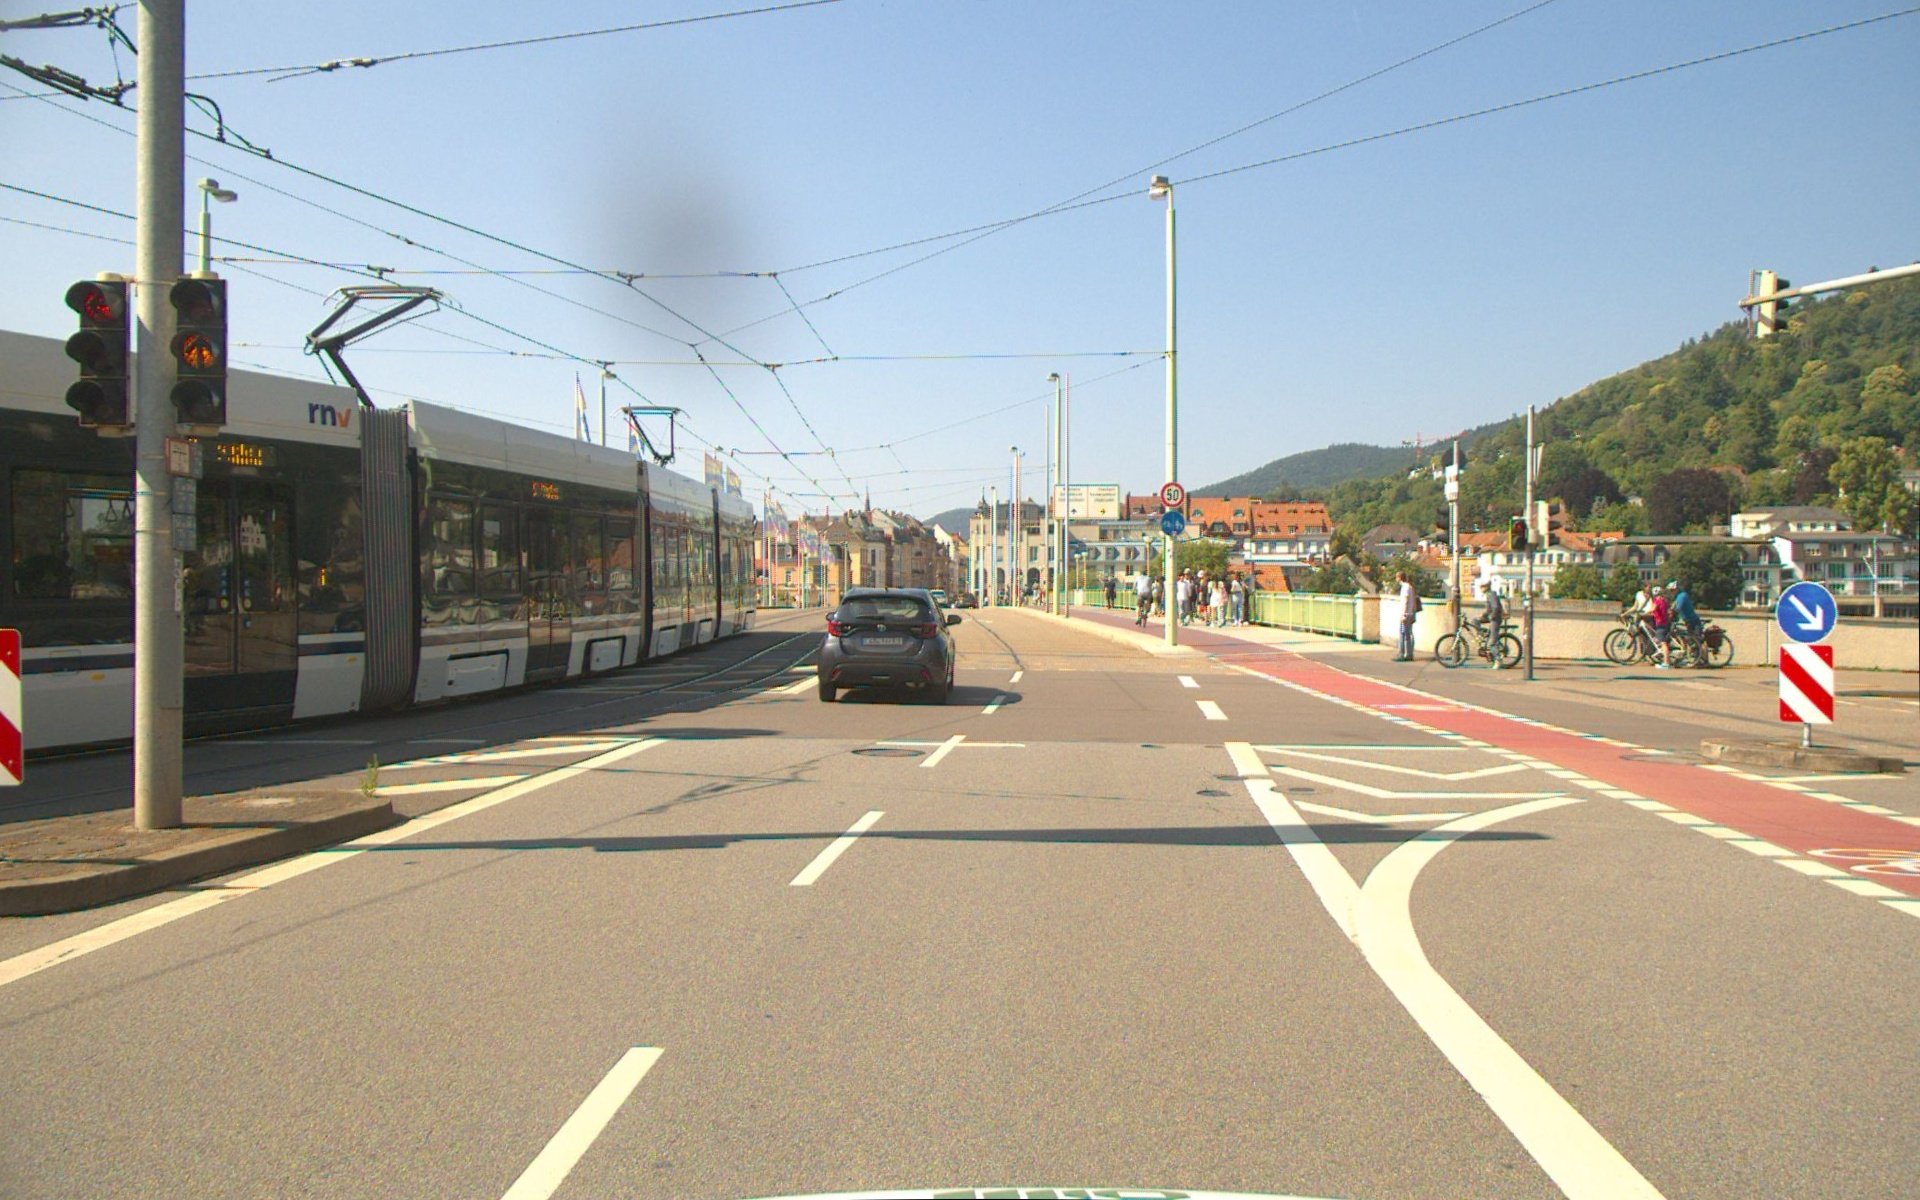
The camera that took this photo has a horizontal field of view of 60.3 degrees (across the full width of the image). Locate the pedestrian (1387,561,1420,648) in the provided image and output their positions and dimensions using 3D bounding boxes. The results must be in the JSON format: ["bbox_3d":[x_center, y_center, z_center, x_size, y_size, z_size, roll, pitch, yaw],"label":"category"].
[{"bbox_3d":[9.186,0.090,34.260,0.523,1.791,0.577,0,1,2],"label":"pedestrian"}]

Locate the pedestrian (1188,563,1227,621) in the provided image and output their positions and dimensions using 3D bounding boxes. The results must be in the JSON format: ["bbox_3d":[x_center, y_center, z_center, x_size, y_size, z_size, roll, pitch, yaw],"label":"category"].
[{"bbox_3d":[7.602,-0.240,50.845,0.966,1.781,0.928,0,0,-7],"label":"pedestrian"}]

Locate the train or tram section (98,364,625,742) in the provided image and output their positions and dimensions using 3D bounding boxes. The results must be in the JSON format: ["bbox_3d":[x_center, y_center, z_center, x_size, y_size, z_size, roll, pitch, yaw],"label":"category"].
[{"bbox_3d":[-7.092,-0.557,21.537,2.483,3.843,9.177,0,1,7],"label":"train or tram section"}]

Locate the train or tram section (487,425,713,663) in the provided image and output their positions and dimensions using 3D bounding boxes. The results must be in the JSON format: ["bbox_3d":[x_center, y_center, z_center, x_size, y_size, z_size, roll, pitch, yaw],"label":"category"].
[{"bbox_3d":[-6.407,-0.983,30.974,2.355,3.745,9.617,-1,1,-2],"label":"train or tram section"}]

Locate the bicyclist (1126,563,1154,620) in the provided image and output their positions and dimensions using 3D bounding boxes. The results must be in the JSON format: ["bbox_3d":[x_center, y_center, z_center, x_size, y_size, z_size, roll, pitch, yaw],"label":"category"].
[{"bbox_3d":[5.708,-0.276,52.430,0.660,1.774,1.149,-1,0,-6],"label":"bicyclist"}]

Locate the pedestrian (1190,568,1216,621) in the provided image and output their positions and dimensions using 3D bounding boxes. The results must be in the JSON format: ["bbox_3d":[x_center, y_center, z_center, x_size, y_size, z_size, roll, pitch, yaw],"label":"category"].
[{"bbox_3d":[7.798,-0.180,53.090,0.641,1.678,0.867,0,0,-4],"label":"pedestrian"}]

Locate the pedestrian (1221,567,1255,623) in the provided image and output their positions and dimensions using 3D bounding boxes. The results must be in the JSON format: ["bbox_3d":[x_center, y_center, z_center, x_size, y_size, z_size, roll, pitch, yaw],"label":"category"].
[{"bbox_3d":[8.527,-0.159,50.814,0.818,1.706,0.884,0,0,-7],"label":"pedestrian"}]

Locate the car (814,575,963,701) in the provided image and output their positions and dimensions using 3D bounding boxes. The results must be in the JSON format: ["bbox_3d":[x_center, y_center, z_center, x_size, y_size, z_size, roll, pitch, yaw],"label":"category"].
[{"bbox_3d":[-1.029,0.467,23.095,1.872,1.567,3.997,1,1,-4],"label":"car"}]

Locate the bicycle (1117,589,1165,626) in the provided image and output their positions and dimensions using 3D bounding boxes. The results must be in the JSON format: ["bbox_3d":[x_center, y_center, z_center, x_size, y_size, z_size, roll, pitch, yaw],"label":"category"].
[{"bbox_3d":[5.710,0.211,52.489,0.777,1.115,3.740,-1,0,-5],"label":"bicycle"}]

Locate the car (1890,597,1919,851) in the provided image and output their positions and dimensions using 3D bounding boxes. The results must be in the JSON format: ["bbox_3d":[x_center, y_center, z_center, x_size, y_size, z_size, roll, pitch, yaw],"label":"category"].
[{"bbox_3d":[7.011,0.779,10.207,1.955,1.516,4.281,1,1,26],"label":"car"}]

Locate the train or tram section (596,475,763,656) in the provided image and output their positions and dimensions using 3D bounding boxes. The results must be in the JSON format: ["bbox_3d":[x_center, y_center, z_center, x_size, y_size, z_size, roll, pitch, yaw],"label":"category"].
[{"bbox_3d":[-6.697,-0.858,41.239,2.420,3.843,11.847,-1,1,-2],"label":"train or tram section"}]

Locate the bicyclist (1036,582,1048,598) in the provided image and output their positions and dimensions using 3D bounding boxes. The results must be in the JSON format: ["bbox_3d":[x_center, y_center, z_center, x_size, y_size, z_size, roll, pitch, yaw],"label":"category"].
[{"bbox_3d":[5.313,-0.648,107.222,0.654,1.063,0.979,-1,0,-8],"label":"bicyclist"}]

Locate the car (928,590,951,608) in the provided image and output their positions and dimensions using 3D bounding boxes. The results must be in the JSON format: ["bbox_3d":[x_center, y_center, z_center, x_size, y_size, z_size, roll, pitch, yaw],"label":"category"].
[{"bbox_3d":[-1.768,-0.076,141.099,1.768,1.494,3.997,-2,0,-4],"label":"car"}]

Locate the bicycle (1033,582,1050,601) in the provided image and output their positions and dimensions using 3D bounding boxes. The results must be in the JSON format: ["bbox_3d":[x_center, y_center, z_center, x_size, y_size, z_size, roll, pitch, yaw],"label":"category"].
[{"bbox_3d":[5.282,-0.551,107.335,0.682,1.214,2.076,-1,-1,-7],"label":"bicycle"}]

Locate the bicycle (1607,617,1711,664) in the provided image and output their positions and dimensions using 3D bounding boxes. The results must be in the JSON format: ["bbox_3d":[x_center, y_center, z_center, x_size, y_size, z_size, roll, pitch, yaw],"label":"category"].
[{"bbox_3d":[14.152,0.804,33.525,1.899,0.868,0.565,2,1,23],"label":"bicycle"}]

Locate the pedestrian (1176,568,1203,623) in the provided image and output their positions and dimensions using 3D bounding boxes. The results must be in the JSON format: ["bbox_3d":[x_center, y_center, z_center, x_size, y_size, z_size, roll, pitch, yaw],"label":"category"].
[{"bbox_3d":[7.349,-0.136,53.040,0.682,1.746,0.730,0,0,-7],"label":"pedestrian"}]

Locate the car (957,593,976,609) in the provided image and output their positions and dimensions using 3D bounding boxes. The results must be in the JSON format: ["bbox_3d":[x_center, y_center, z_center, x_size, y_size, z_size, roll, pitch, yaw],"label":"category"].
[{"bbox_3d":[0.658,0.104,164.996,1.766,1.494,4.000,-2,0,1],"label":"car"}]

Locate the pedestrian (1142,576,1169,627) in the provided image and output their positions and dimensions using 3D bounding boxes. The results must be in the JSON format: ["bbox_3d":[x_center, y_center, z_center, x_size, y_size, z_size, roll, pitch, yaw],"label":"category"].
[{"bbox_3d":[7.878,0.061,66.752,0.857,2.049,1.057,0,0,-7],"label":"pedestrian"}]

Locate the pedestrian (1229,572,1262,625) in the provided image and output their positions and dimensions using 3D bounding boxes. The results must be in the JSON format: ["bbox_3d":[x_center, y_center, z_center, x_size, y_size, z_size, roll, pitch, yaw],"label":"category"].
[{"bbox_3d":[8.955,-0.053,51.930,0.784,1.663,0.948,0,0,-7],"label":"pedestrian"}]

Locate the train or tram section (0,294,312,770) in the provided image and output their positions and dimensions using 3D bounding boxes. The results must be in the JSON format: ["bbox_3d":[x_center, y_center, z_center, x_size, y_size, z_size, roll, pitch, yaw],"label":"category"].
[{"bbox_3d":[-9.218,-0.533,12.859,2.484,3.843,9.174,0,1,18],"label":"train or tram section"}]

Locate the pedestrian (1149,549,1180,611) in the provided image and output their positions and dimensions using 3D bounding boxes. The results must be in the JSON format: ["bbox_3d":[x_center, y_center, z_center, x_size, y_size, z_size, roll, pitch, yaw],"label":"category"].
[{"bbox_3d":[6.772,-0.649,54.778,0.788,2.049,0.953,0,0,-7],"label":"pedestrian"}]

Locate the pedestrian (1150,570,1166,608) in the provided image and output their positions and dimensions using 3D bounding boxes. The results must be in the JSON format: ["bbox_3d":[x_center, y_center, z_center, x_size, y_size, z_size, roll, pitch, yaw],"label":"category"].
[{"bbox_3d":[8.435,-0.457,70.471,0.636,1.589,0.692,-1,1,5],"label":"pedestrian"}]

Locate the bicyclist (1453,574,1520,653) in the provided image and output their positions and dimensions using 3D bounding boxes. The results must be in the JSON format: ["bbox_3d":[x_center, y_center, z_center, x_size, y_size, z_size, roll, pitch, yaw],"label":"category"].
[{"bbox_3d":[10.219,0.255,32.127,1.057,1.499,0.801,1,1,3],"label":"bicyclist"}]

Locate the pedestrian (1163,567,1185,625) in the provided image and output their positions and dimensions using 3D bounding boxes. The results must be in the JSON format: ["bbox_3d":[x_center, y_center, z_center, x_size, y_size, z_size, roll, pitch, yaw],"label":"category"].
[{"bbox_3d":[6.779,-0.133,52.488,0.538,1.830,0.645,0,0,-7],"label":"pedestrian"}]

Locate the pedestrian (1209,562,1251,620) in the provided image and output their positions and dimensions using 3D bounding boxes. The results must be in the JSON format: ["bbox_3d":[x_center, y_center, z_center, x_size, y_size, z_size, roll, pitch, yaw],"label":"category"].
[{"bbox_3d":[8.634,-0.285,52.920,0.966,1.800,1.252,-1,0,-7],"label":"pedestrian"}]

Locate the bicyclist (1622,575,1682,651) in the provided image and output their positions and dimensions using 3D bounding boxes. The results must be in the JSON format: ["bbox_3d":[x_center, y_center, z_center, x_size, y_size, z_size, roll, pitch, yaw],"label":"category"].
[{"bbox_3d":[14.053,0.245,33.610,1.058,1.499,0.762,1,1,22],"label":"bicyclist"}]

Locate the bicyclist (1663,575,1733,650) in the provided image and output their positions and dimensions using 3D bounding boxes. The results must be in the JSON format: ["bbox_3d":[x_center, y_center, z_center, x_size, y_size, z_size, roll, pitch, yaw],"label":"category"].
[{"bbox_3d":[15.149,0.244,33.985,1.057,1.499,0.929,1,1,7],"label":"bicyclist"}]

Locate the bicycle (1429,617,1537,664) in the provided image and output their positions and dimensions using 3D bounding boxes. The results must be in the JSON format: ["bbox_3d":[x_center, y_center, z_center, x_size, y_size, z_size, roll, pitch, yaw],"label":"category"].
[{"bbox_3d":[10.162,0.790,32.167,1.898,0.841,0.565,1,1,3],"label":"bicycle"}]

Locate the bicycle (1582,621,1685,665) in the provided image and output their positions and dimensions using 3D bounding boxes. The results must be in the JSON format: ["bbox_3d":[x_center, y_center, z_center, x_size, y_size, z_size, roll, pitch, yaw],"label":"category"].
[{"bbox_3d":[14.106,0.899,34.659,1.898,0.841,0.565,1,1,3],"label":"bicycle"}]

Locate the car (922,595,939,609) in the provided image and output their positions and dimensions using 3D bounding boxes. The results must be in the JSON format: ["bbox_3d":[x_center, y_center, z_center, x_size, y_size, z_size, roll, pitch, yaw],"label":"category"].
[{"bbox_3d":[-3.742,0.230,210.387,1.954,1.747,3.997,0,0,-3],"label":"car"}]

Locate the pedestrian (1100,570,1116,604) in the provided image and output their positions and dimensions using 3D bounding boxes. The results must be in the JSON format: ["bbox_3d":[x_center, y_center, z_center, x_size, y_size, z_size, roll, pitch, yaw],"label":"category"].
[{"bbox_3d":[7.969,-0.709,88.980,0.642,1.774,0.977,0,1,-8],"label":"pedestrian"}]

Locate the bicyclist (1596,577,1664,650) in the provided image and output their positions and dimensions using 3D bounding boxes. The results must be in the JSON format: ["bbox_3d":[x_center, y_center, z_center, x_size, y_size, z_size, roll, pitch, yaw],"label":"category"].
[{"bbox_3d":[14.029,0.273,34.645,1.057,1.499,0.928,1,1,5],"label":"bicyclist"}]

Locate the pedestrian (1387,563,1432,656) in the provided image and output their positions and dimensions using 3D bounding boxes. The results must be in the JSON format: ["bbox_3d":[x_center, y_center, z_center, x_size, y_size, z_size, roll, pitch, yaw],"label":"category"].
[{"bbox_3d":[9.231,0.188,33.988,0.758,1.888,0.644,0,0,2],"label":"pedestrian"}]
